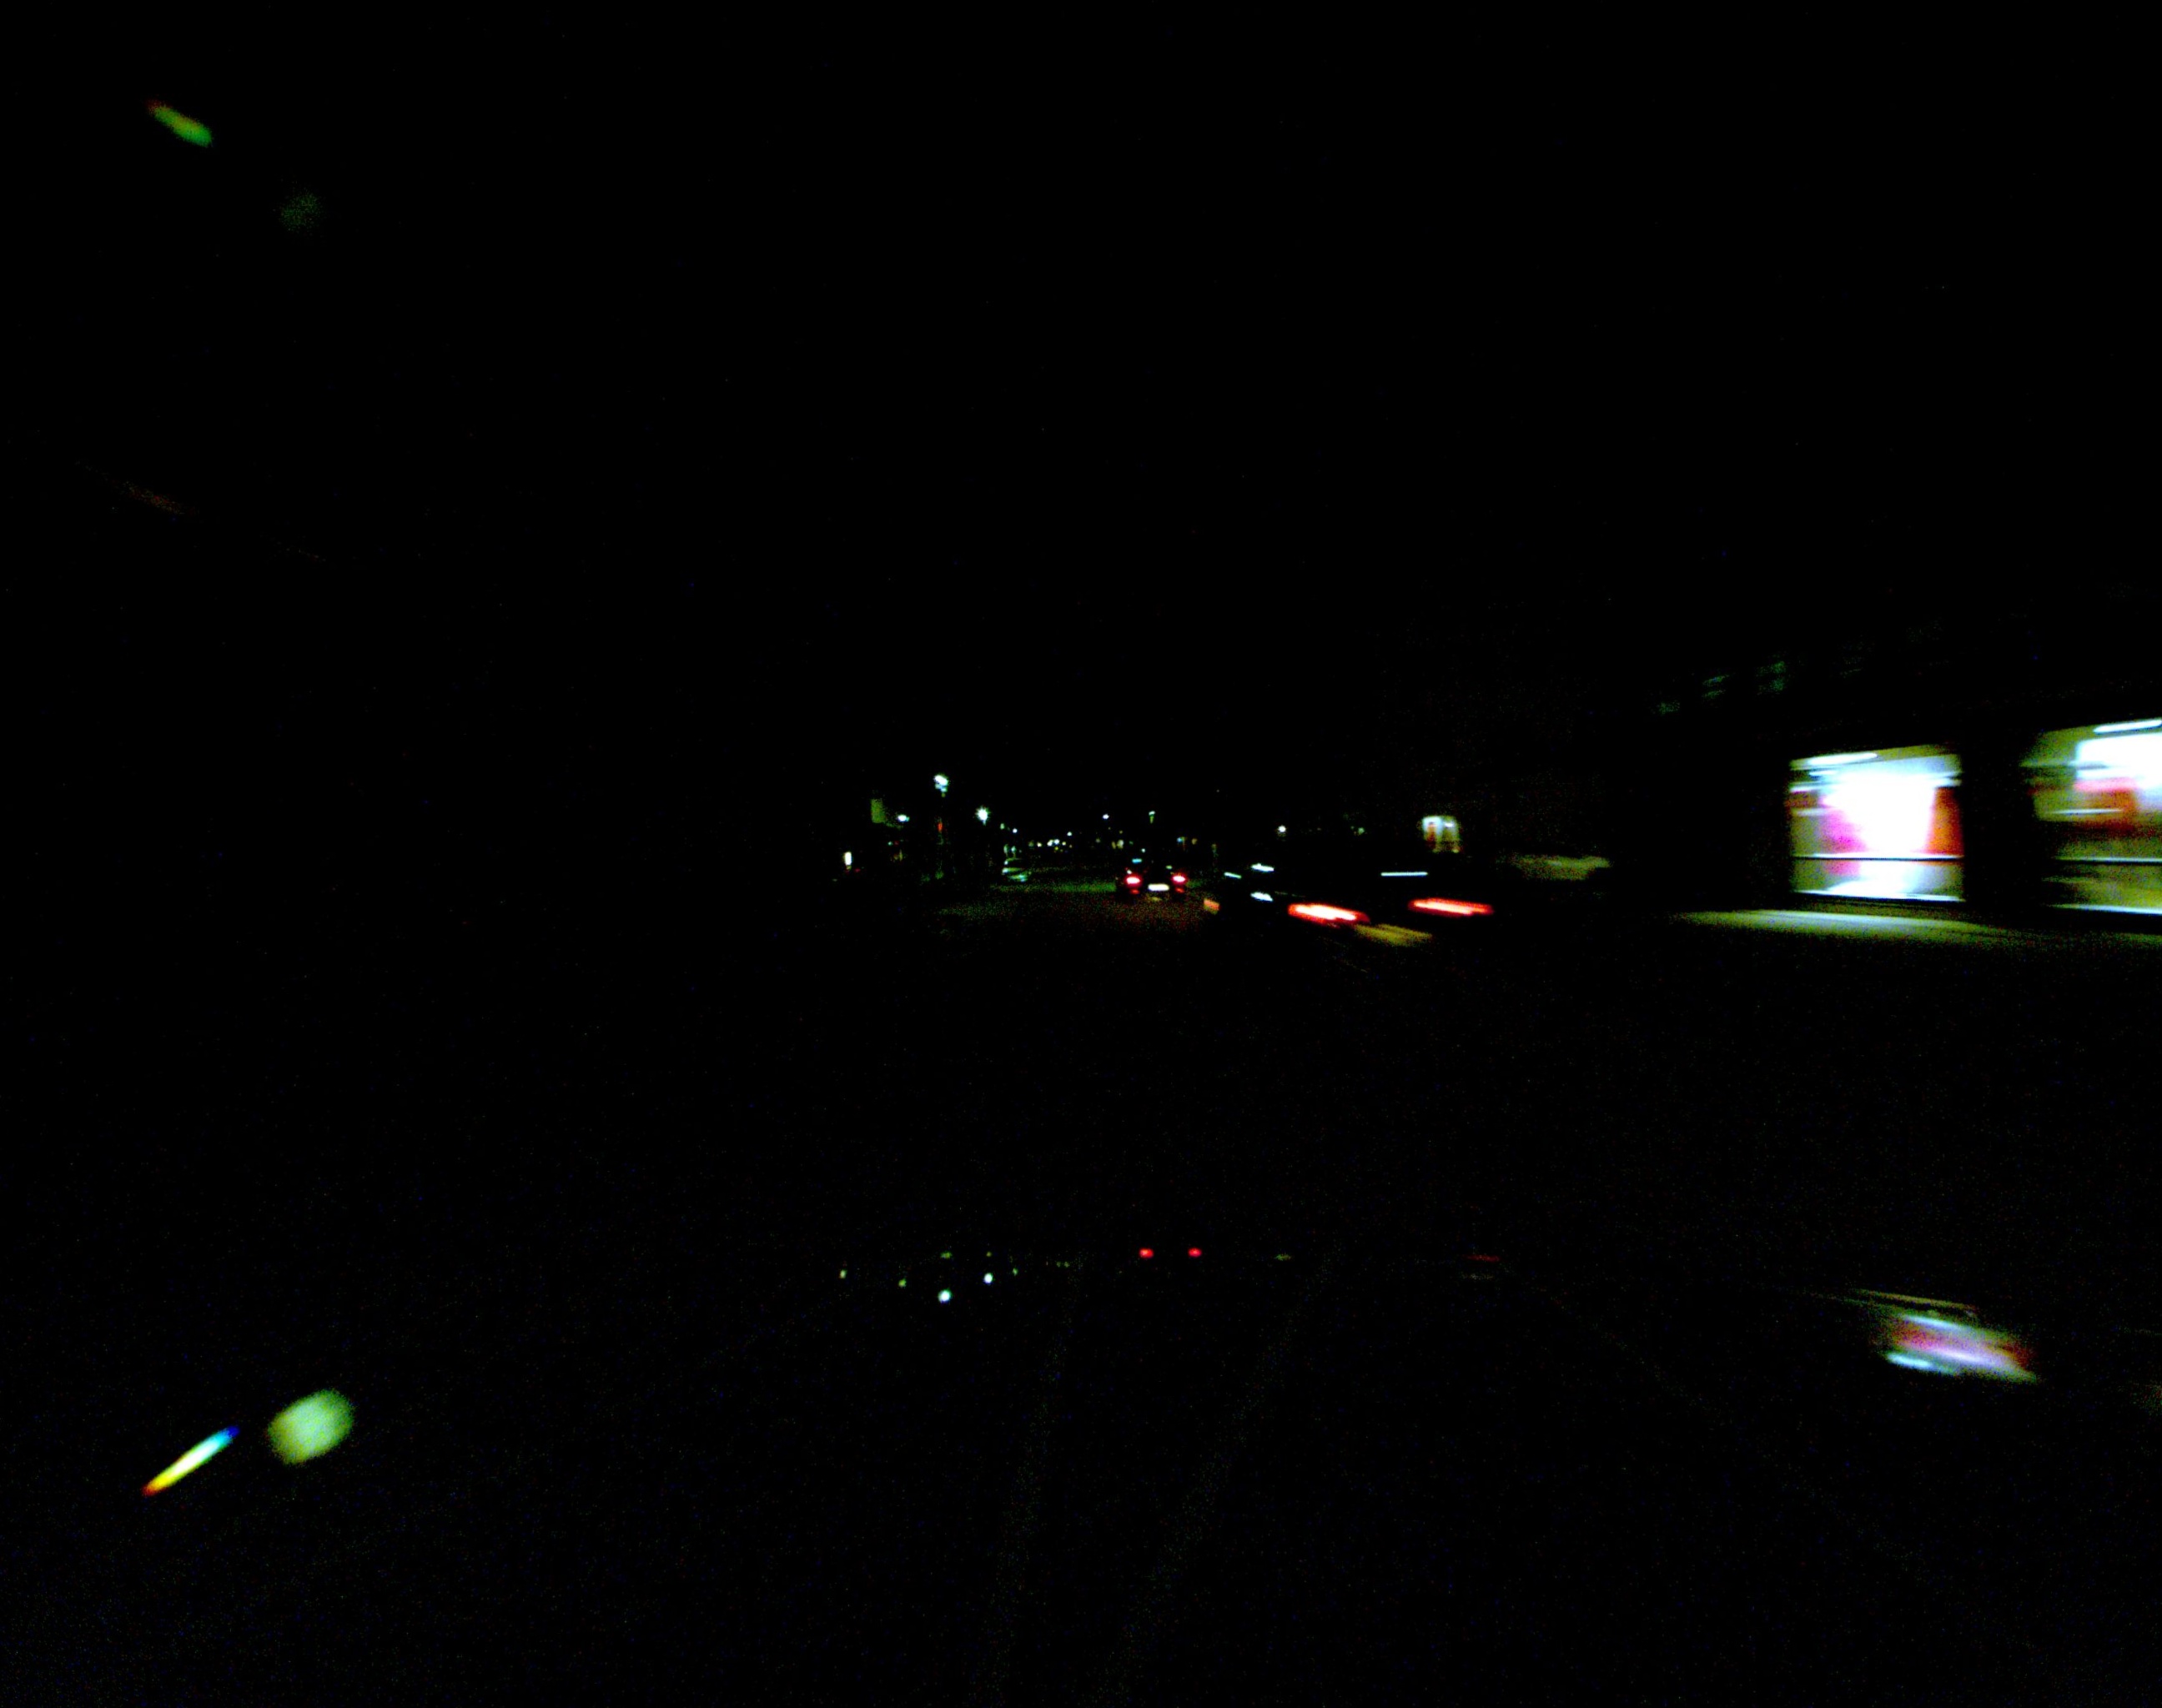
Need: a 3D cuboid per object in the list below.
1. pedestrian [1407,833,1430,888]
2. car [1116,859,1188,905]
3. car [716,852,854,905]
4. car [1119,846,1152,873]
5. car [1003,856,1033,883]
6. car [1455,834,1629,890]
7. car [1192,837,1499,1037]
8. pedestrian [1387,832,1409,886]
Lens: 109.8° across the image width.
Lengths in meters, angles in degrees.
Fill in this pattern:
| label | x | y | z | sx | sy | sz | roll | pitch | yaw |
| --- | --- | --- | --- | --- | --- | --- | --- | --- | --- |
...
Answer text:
| label | x | y | z | sx | sy | sz | roll | pitch | yaw |
| --- | --- | --- | --- | --- | --- | --- | --- | --- | --- |
| pedestrian | 9.931 | 0.195 | 22.366 | 0.528 | 1.579 | 0.667 | -2 | 1 | 21 |
| car | 2.179 | 0.836 | 24.296 | 1.822 | 1.271 | 3.916 | -2 | 0 | -1 |
| car | -9.754 | 0.783 | 25.273 | 3.916 | 1.578 | 1.644 | 2 | 0 | -4 |
| car | 3.606 | 0.348 | 50.774 | 1.814 | 1.637 | 3.803 | -4 | 0 | -1 |
| car | -3.701 | 0.872 | 45.133 | 1.606 | 1.474 | 3.698 | -2 | 0 | -3 |
| car | 12.855 | 0.209 | 21.348 | 3.833 | 1.408 | 1.652 | -1 | 0 | 1 |
| car | 2.570 | 0.699 | 8.602 | 1.752 | 1.635 | 4.306 | -2 | 0 | -3 |
| pedestrian | 9.409 | 0.141 | 22.561 | 0.528 | 1.579 | 0.667 | -2 | 1 | 21 |
